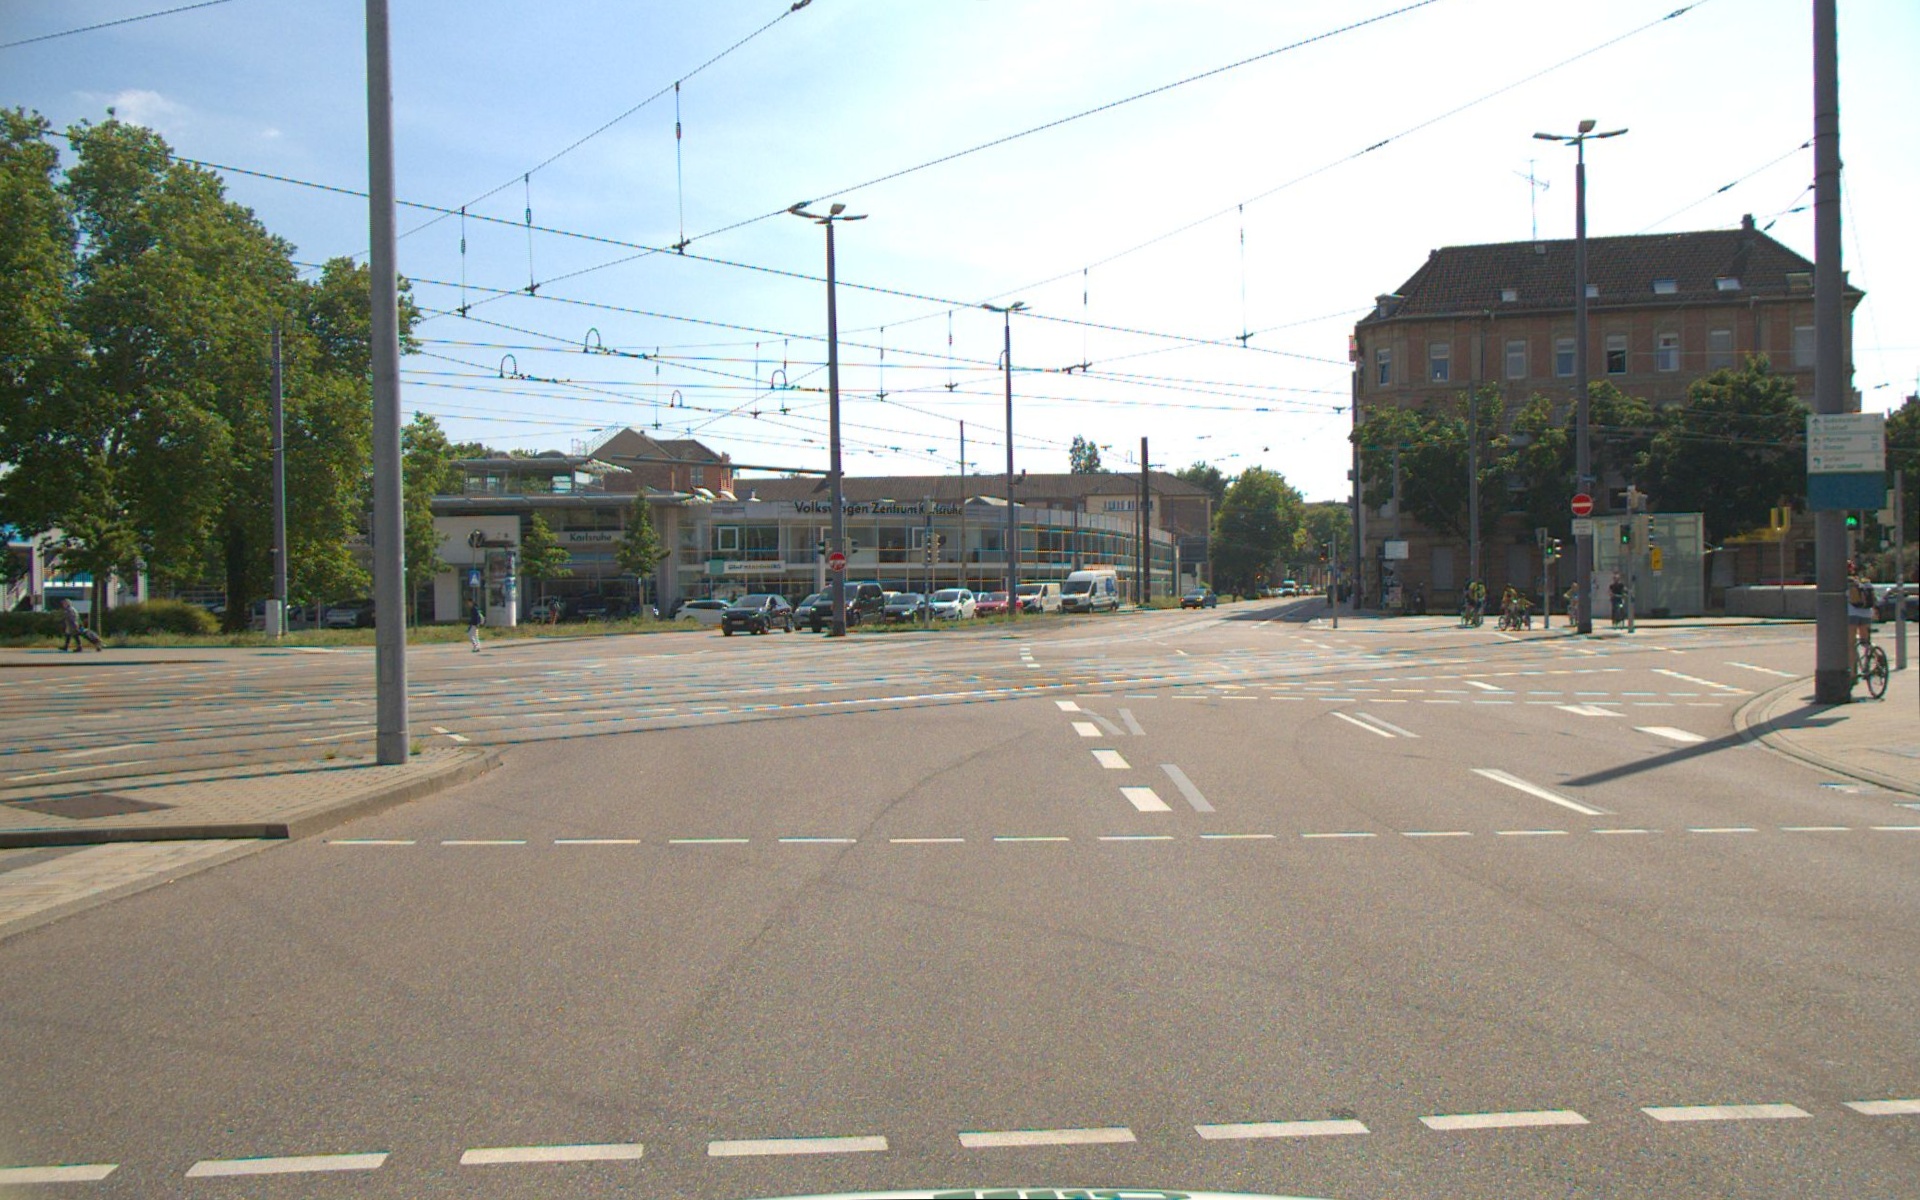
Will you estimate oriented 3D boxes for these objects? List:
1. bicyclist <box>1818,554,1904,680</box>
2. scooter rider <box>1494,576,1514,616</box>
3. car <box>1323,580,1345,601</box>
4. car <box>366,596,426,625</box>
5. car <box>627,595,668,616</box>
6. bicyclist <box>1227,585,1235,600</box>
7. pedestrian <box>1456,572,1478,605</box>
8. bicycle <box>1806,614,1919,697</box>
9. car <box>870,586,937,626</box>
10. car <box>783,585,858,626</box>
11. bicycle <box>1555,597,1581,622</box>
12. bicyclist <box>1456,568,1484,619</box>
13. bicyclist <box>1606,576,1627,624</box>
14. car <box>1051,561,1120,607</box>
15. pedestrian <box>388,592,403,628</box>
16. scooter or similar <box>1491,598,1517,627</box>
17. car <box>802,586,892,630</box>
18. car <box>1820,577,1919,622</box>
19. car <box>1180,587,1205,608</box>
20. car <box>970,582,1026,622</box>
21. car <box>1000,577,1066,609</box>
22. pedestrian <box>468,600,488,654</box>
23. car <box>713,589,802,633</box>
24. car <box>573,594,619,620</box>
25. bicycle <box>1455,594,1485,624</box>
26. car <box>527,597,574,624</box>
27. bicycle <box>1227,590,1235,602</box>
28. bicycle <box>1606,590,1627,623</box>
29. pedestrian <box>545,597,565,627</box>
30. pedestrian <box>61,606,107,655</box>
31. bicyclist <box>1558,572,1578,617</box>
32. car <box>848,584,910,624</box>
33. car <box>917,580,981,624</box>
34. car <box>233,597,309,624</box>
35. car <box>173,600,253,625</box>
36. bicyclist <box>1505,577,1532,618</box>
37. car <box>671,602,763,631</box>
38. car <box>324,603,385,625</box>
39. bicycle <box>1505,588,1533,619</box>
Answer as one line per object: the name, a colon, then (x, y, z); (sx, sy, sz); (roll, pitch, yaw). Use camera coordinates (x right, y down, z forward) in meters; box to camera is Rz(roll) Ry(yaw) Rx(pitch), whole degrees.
bicyclist: (12.558, 0.232, 23.075); (0.699, 1.698, 0.875); (-3, 0, 7)
scooter rider: (19.185, -0.137, 58.324); (0.575, 1.422, 0.406); (1, -1, -1)
car: (37.431, -0.943, 165.407); (2.063, 2.049, 4.003); (-1, 0, 13)
car: (-34.004, 0.629, 99.798); (1.951, 1.713, 4.002); (1, 0, 4)
car: (-18.656, 0.333, 98.834); (1.793, 1.216, 3.998); (1, 0, -2)
bicyclist: (29.333, -0.808, 178.869); (0.736, 1.595, 1.088); (1, -1, 13)
pedestrian: (22.647, -0.526, 73.861); (0.608, 1.458, 0.703); (1, -1, -38)
bicycle: (12.594, 0.751, 23.081); (0.699, 1.033, 2.022); (-3, 0, 7)
car: (-2.369, 0.270, 70.312); (1.854, 1.615, 4.003); (-1, -1, 13)
car: (-5.862, 0.250, 69.896); (1.854, 1.615, 4.002); (-1, -1, 16)
bicycle: (22.534, 0.354, 61.345); (0.489, 0.881, 1.588); (1, 1, 4)
bicyclist: (18.934, -0.242, 61.415); (0.907, 1.852, 1.052); (1, -1, 21)
bicyclist: (22.569, -0.002, 56.862); (0.653, 1.652, 0.783); (1, 1, 22)
car: (7.532, -0.940, 98.830); (2.165, 2.620, 5.870); (1, -1, 25)
pedestrian: (-25.614, 0.436, 75.079); (0.384, 1.624, 0.464); (1, -1, 23)
scooter or similar: (19.181, 0.446, 58.302); (0.575, 0.993, 0.992); (1, -1, -1)
car: (-4.297, 0.285, 63.694); (1.919, 1.615, 4.719); (-1, 0, 16)
car: (34.208, -0.037, 61.679); (3.930, 1.611, 1.628); (-1, 0, -21)
car: (17.280, -0.175, 122.763); (1.355, 1.439, 3.013); (1, 0, 18)
car: (1.989, 0.115, 84.585); (1.854, 1.950, 4.203); (-1, -1, 16)
car: (4.085, -0.403, 91.797); (2.140, 1.710, 5.029); (-1, 0, 21)
pedestrian: (-14.901, 0.832, 51.136); (0.449, 1.633, 0.395); (1, -1, -37)
car: (-7.673, 0.432, 63.048); (1.851, 1.615, 4.213); (-1, -1, 16)
car: (-21.786, 0.404, 99.164); (1.953, 1.512, 3.998); (1, 0, -2)
bicycle: (19.013, 0.330, 61.632); (0.907, 1.088, 2.747); (1, 0, 20)
car: (-24.515, 0.609, 99.139); (1.953, 1.512, 3.998); (2, 0, -2)
bicycle: (29.324, -0.399, 178.820); (0.736, 1.215, 2.841); (1, 0, 13)
bicycle: (22.881, 0.220, 57.661); (0.653, 1.088, 2.463); (1, 1, 21)
pedestrian: (-22.146, 0.641, 90.427); (0.934, 1.607, 0.534); (1, -1, -4)
pedestrian: (-25.891, 0.895, 48.888); (1.098, 1.428, 0.652); (1, -1, -23)
bicyclist: (22.536, -0.217, 61.323); (0.489, 1.649, 0.650); (1, 0, 4)
car: (-3.736, 0.213, 76.826); (1.616, 1.769, 4.203); (-1, -1, 16)
car: (-0.483, 0.124, 77.641); (1.854, 1.950, 4.203); (-1, -1, 16)
car: (-42.988, 0.648, 103.225); (3.907, 1.579, 1.999); (-1, 0, -3)
car: (-45.195, 0.762, 100.139); (3.906, 1.395, 1.999); (1, 0, -2)
bicyclist: (20.275, -0.091, 60.096); (0.907, 1.477, 1.252); (1, 1, 18)
car: (-12.681, 0.858, 86.399); (4.487, 1.461, 1.445); (1, -1, 13)
car: (-36.311, 0.811, 99.359); (1.951, 1.266, 4.002); (1, 0, 4)
bicycle: (20.404, 0.104, 60.408); (0.907, 1.088, 2.843); (1, 1, 18)
